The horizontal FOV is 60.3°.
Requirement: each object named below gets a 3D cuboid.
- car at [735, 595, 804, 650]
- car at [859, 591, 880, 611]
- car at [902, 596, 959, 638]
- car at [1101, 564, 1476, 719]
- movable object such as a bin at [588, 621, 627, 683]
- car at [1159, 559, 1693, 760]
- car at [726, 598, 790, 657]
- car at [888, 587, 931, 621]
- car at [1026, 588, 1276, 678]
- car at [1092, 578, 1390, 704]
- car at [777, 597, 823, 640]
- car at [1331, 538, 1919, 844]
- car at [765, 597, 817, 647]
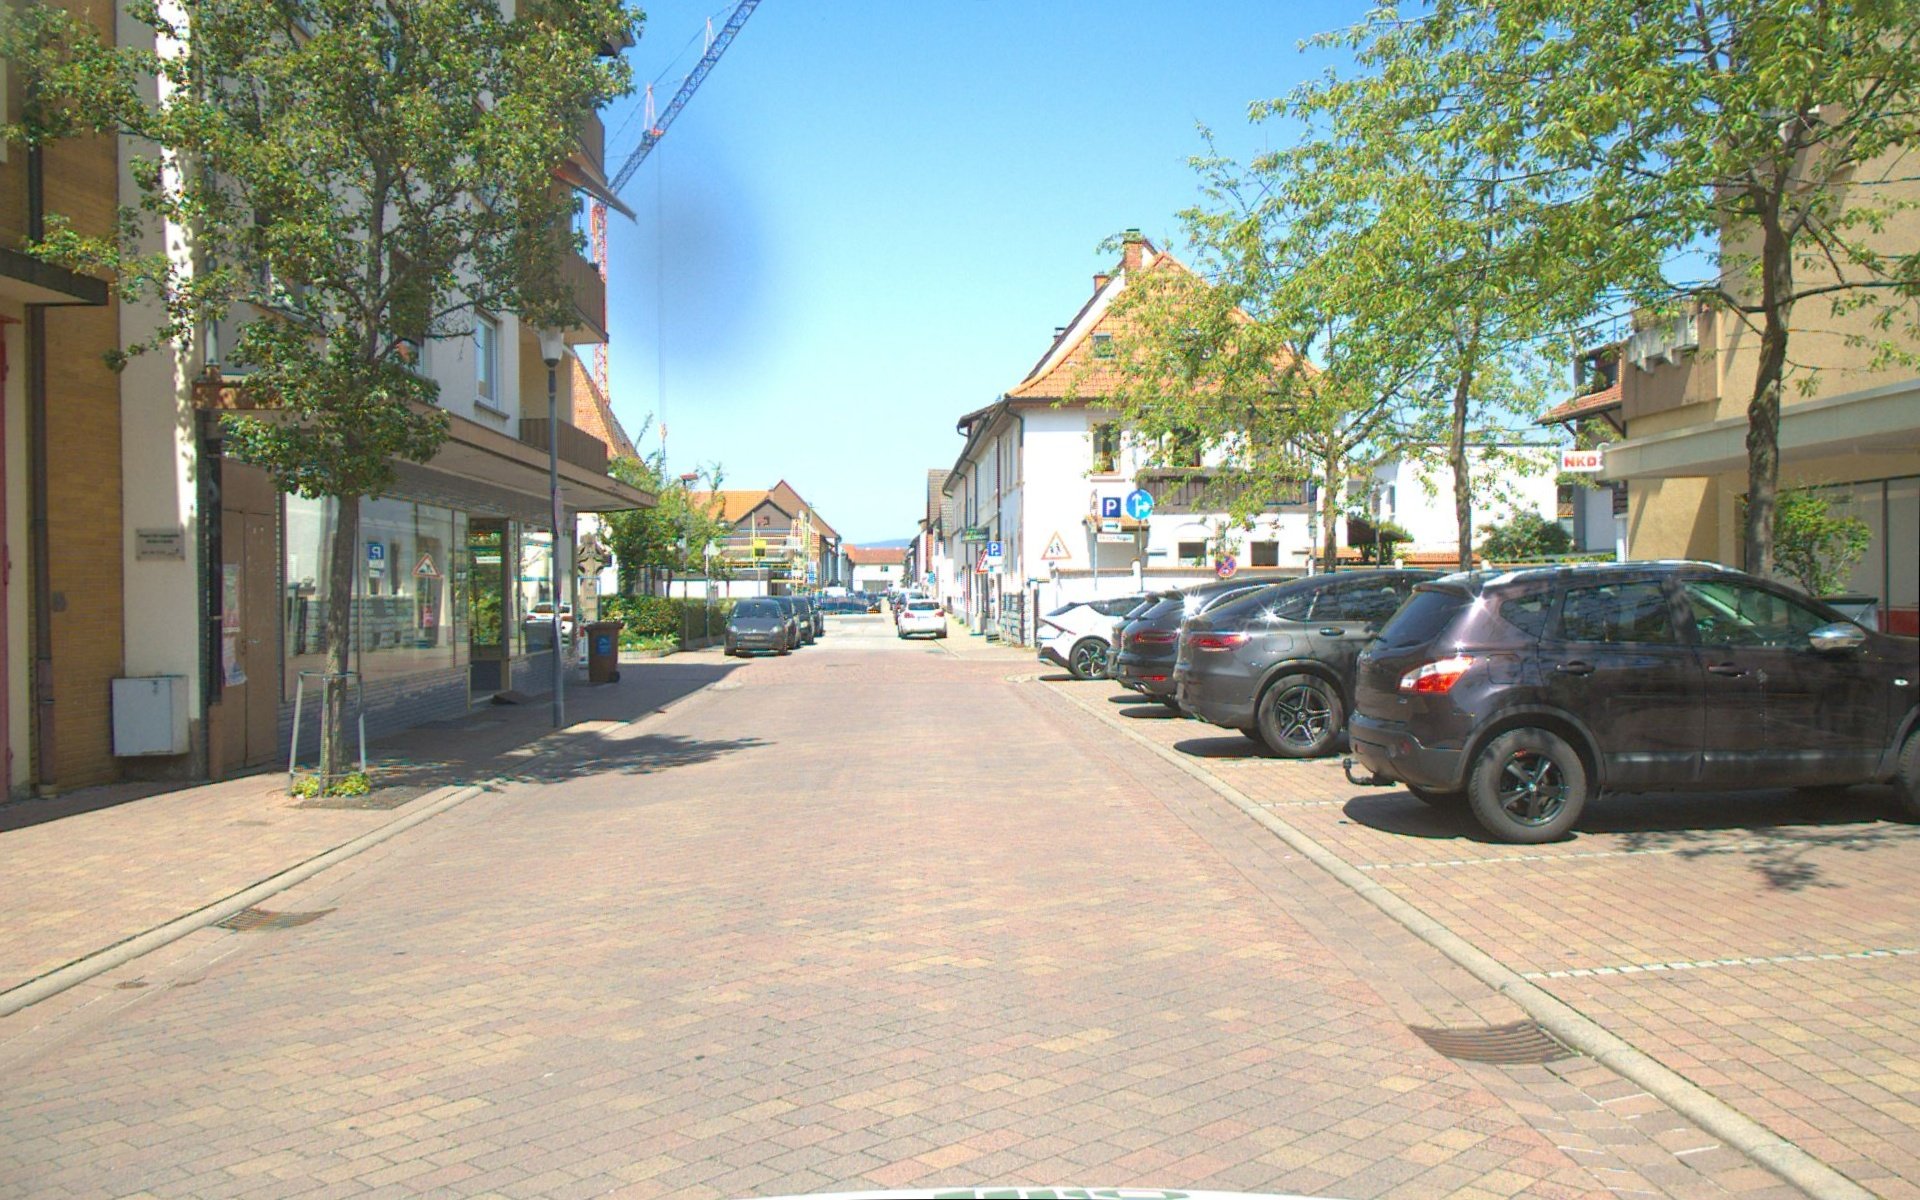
[{"bbox_3d":[-5.903,0.676,51.601,1.778,1.633,4.023,0,0,-1],"label":"car"},{"bbox_3d":[-7.869,0.116,143.629,1.844,1.697,4.150,0,0,-4],"label":"car"},{"bbox_3d":[-1.119,0.646,64.511,1.847,1.569,4.245,0,0,4],"label":"car"},{"bbox_3d":[4.014,0.488,20.690,4.195,1.710,1.999,-2,0,-4],"label":"car"},{"bbox_3d":[-6.404,0.938,30.049,0.643,1.089,0.662,0,0,-9],"label":"movable object such as a bin"},{"bbox_3d":[4.177,0.514,15.364,4.415,1.616,1.850,-2,0,0],"label":"car"},{"bbox_3d":[-5.535,0.717,45.608,1.669,1.523,3.852,0,0,-6],"label":"car"},{"bbox_3d":[-2.582,0.188,84.420,1.848,1.583,3.890,-4,1,-6],"label":"car"},{"bbox_3d":[3.496,0.586,30.739,4.353,1.603,1.787,0,0,-5],"label":"car"},{"bbox_3d":[3.961,0.557,23.729,3.866,1.560,1.823,-3,0,-3],"label":"car"},{"bbox_3d":[-6.564,0.732,68.036,1.790,1.659,4.213,0,0,-4],"label":"car"},{"bbox_3d":[4.539,0.506,10.450,3.946,1.640,1.680,-2,0,-2],"label":"car"},{"bbox_3d":[-5.830,0.735,57.283,1.605,1.657,3.766,0,0,-3],"label":"car"}]
